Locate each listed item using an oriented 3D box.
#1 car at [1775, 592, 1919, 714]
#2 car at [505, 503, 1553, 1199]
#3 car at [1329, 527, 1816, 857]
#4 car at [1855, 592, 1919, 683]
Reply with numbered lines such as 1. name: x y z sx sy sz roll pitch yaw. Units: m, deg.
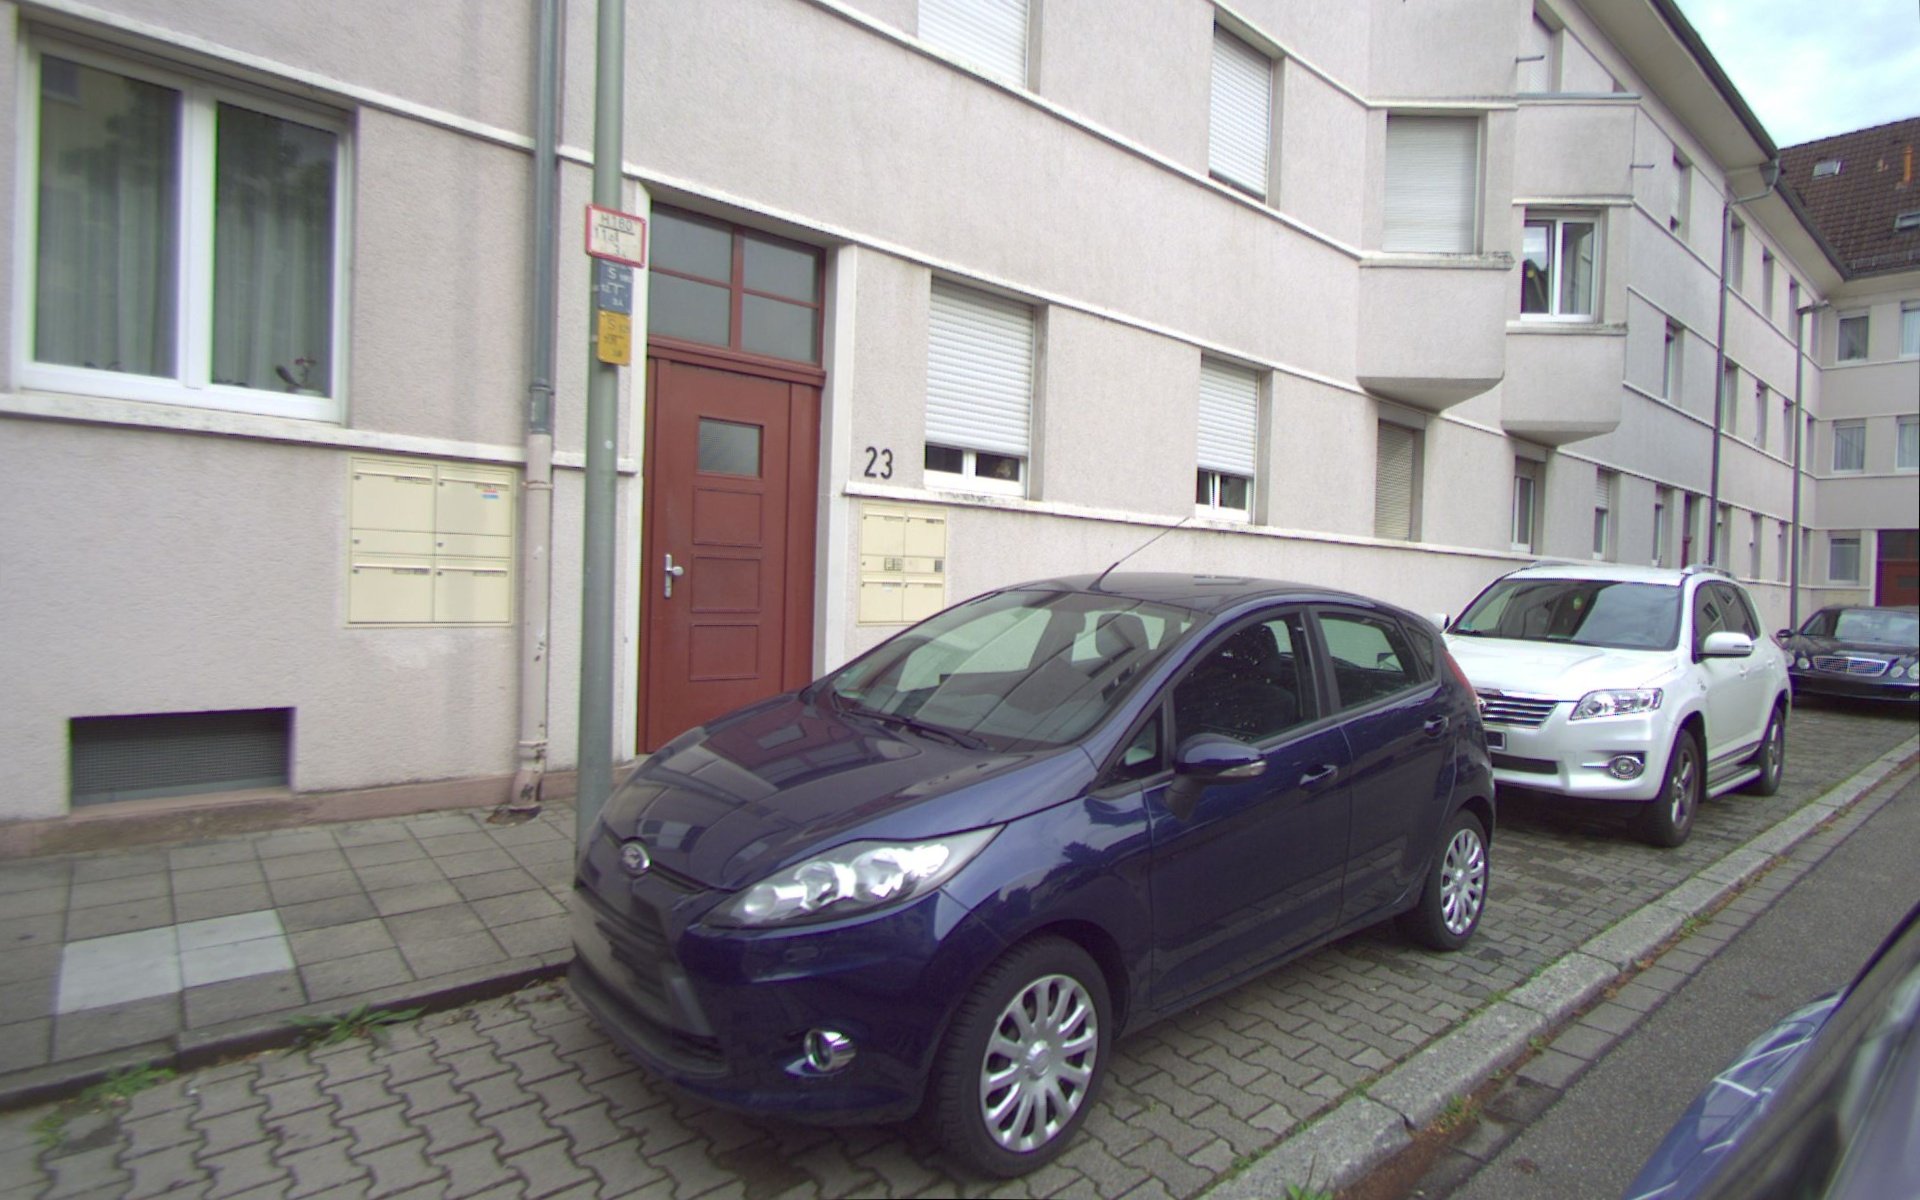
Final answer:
1. car: 13.332 0.701 14.524 4.864 1.438 1.748 1 2 -42
2. car: 0.565 0.556 3.745 3.801 1.496 1.571 1 2 -40
3. car: 4.606 0.457 7.321 4.216 1.694 1.846 1 2 -43
4. car: 18.245 0.668 18.928 4.009 1.543 1.760 0 3 -42
